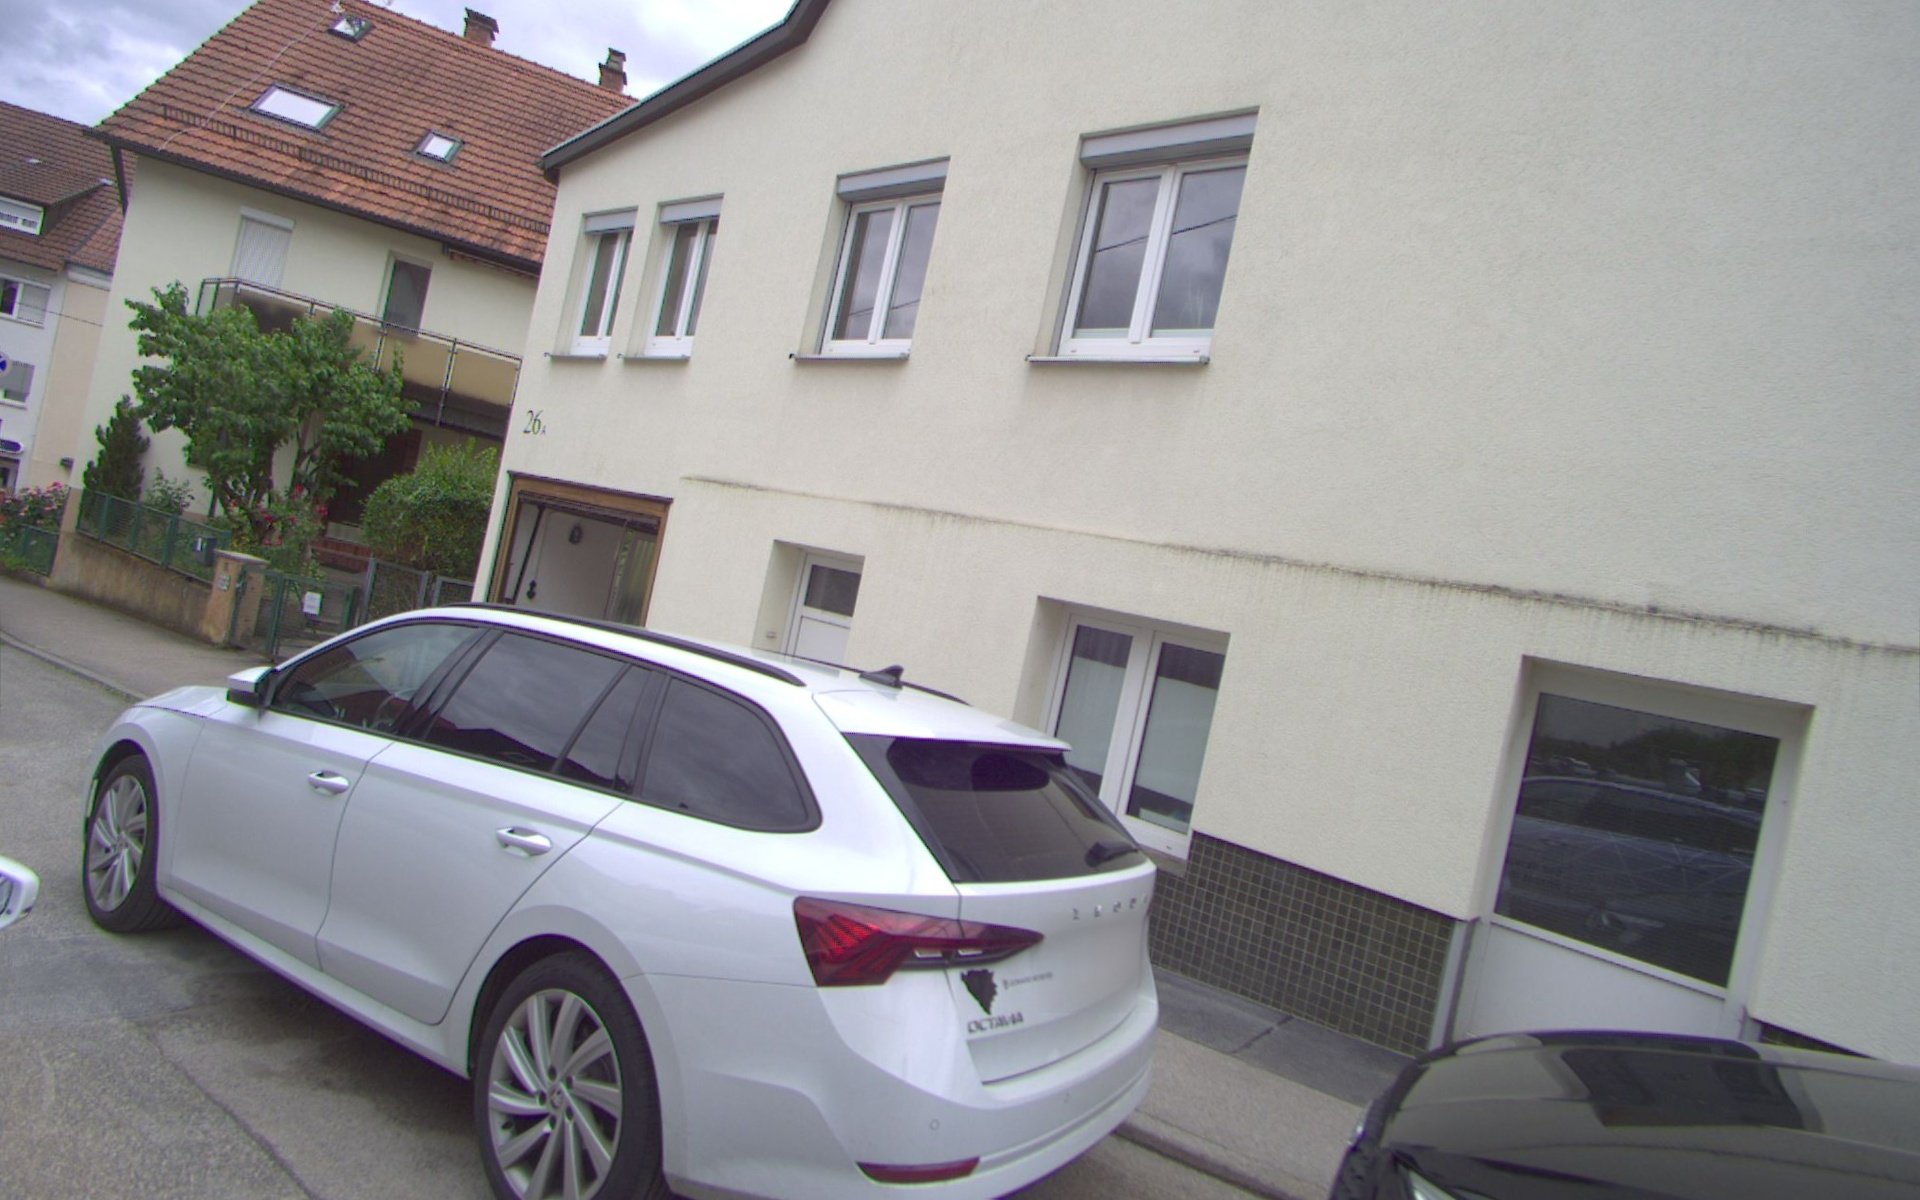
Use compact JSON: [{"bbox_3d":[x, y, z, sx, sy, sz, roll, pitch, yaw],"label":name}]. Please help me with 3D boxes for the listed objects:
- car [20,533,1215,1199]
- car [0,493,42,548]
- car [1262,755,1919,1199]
[{"bbox_3d":[-1.472,0.791,3.762,4.227,1.460,1.801,7,-5,32],"label":"car"},{"bbox_3d":[-31.759,-2.819,31.677,3.642,1.573,1.693,11,-2,-15],"label":"car"},{"bbox_3d":[2.585,1.292,1.322,3.983,1.422,1.681,7,-5,30],"label":"car"}]
